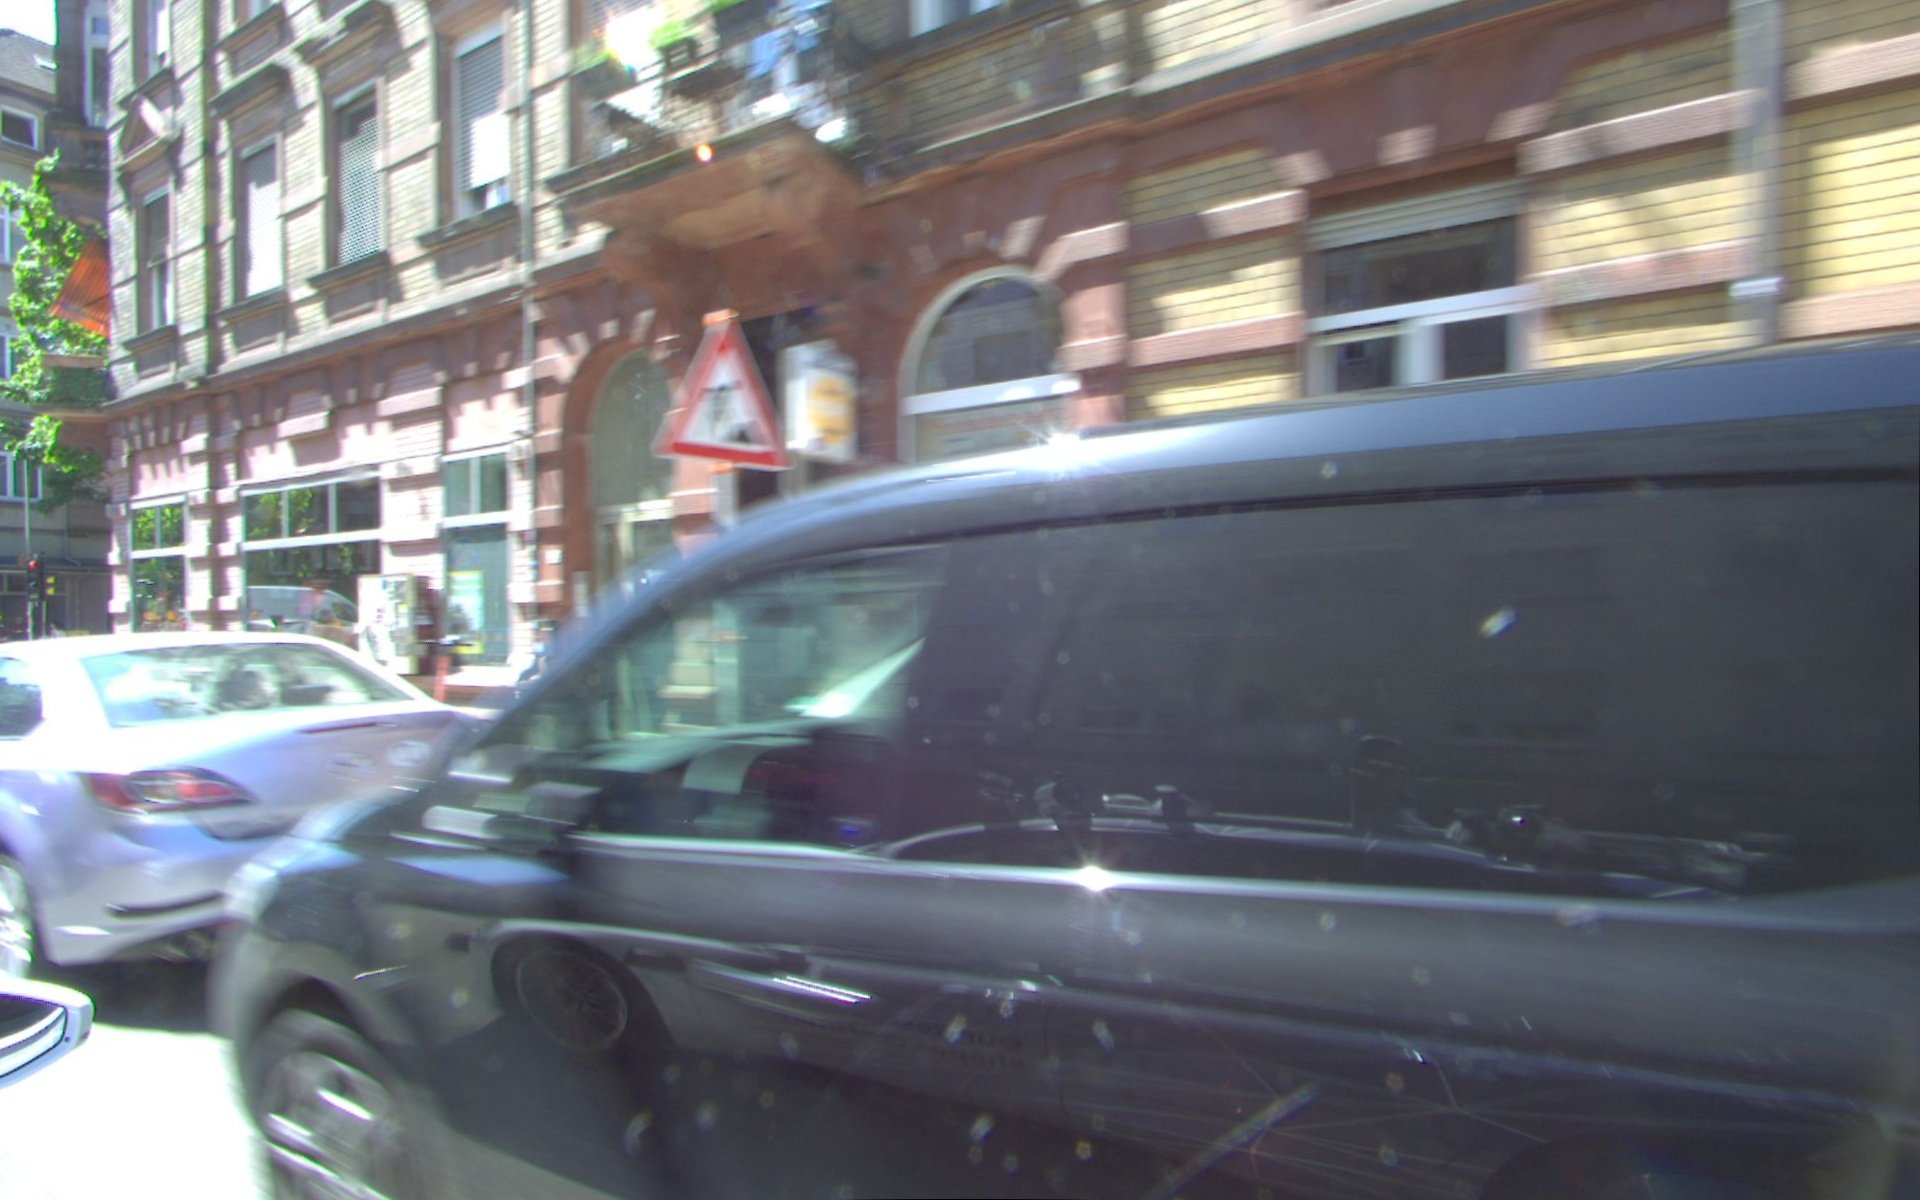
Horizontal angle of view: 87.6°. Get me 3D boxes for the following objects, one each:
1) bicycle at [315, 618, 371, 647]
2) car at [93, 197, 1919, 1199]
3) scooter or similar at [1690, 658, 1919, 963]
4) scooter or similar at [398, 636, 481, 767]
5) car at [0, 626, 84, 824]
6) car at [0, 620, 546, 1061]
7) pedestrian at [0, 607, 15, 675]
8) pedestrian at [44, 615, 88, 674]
[{"bbox_3d":[-22.730,1.190,36.919,0.497,1.010,1.722,2,0,28],"label":"bicycle"},{"bbox_3d":[0.056,0.594,2.297,4.274,1.790,1.821,-1,0,31],"label":"car"},{"bbox_3d":[4.195,0.836,3.922,2.118,1.168,0.475,-1,-1,32],"label":"scooter or similar"},{"bbox_3d":[-5.053,0.949,9.702,1.257,1.192,0.291,-1,-1,42],"label":"scooter or similar"},{"bbox_3d":[-8.838,0.963,8.069,3.606,1.451,1.624,-1,0,31],"label":"car"},{"bbox_3d":[-4.351,0.863,5.252,4.419,1.451,1.722,-1,0,31],"label":"car"},{"bbox_3d":[-26.052,1.107,27.079,0.463,1.794,0.575,3,3,24],"label":"pedestrian"},{"bbox_3d":[-25.240,1.247,28.271,0.634,1.645,0.799,0,0,35],"label":"pedestrian"}]
